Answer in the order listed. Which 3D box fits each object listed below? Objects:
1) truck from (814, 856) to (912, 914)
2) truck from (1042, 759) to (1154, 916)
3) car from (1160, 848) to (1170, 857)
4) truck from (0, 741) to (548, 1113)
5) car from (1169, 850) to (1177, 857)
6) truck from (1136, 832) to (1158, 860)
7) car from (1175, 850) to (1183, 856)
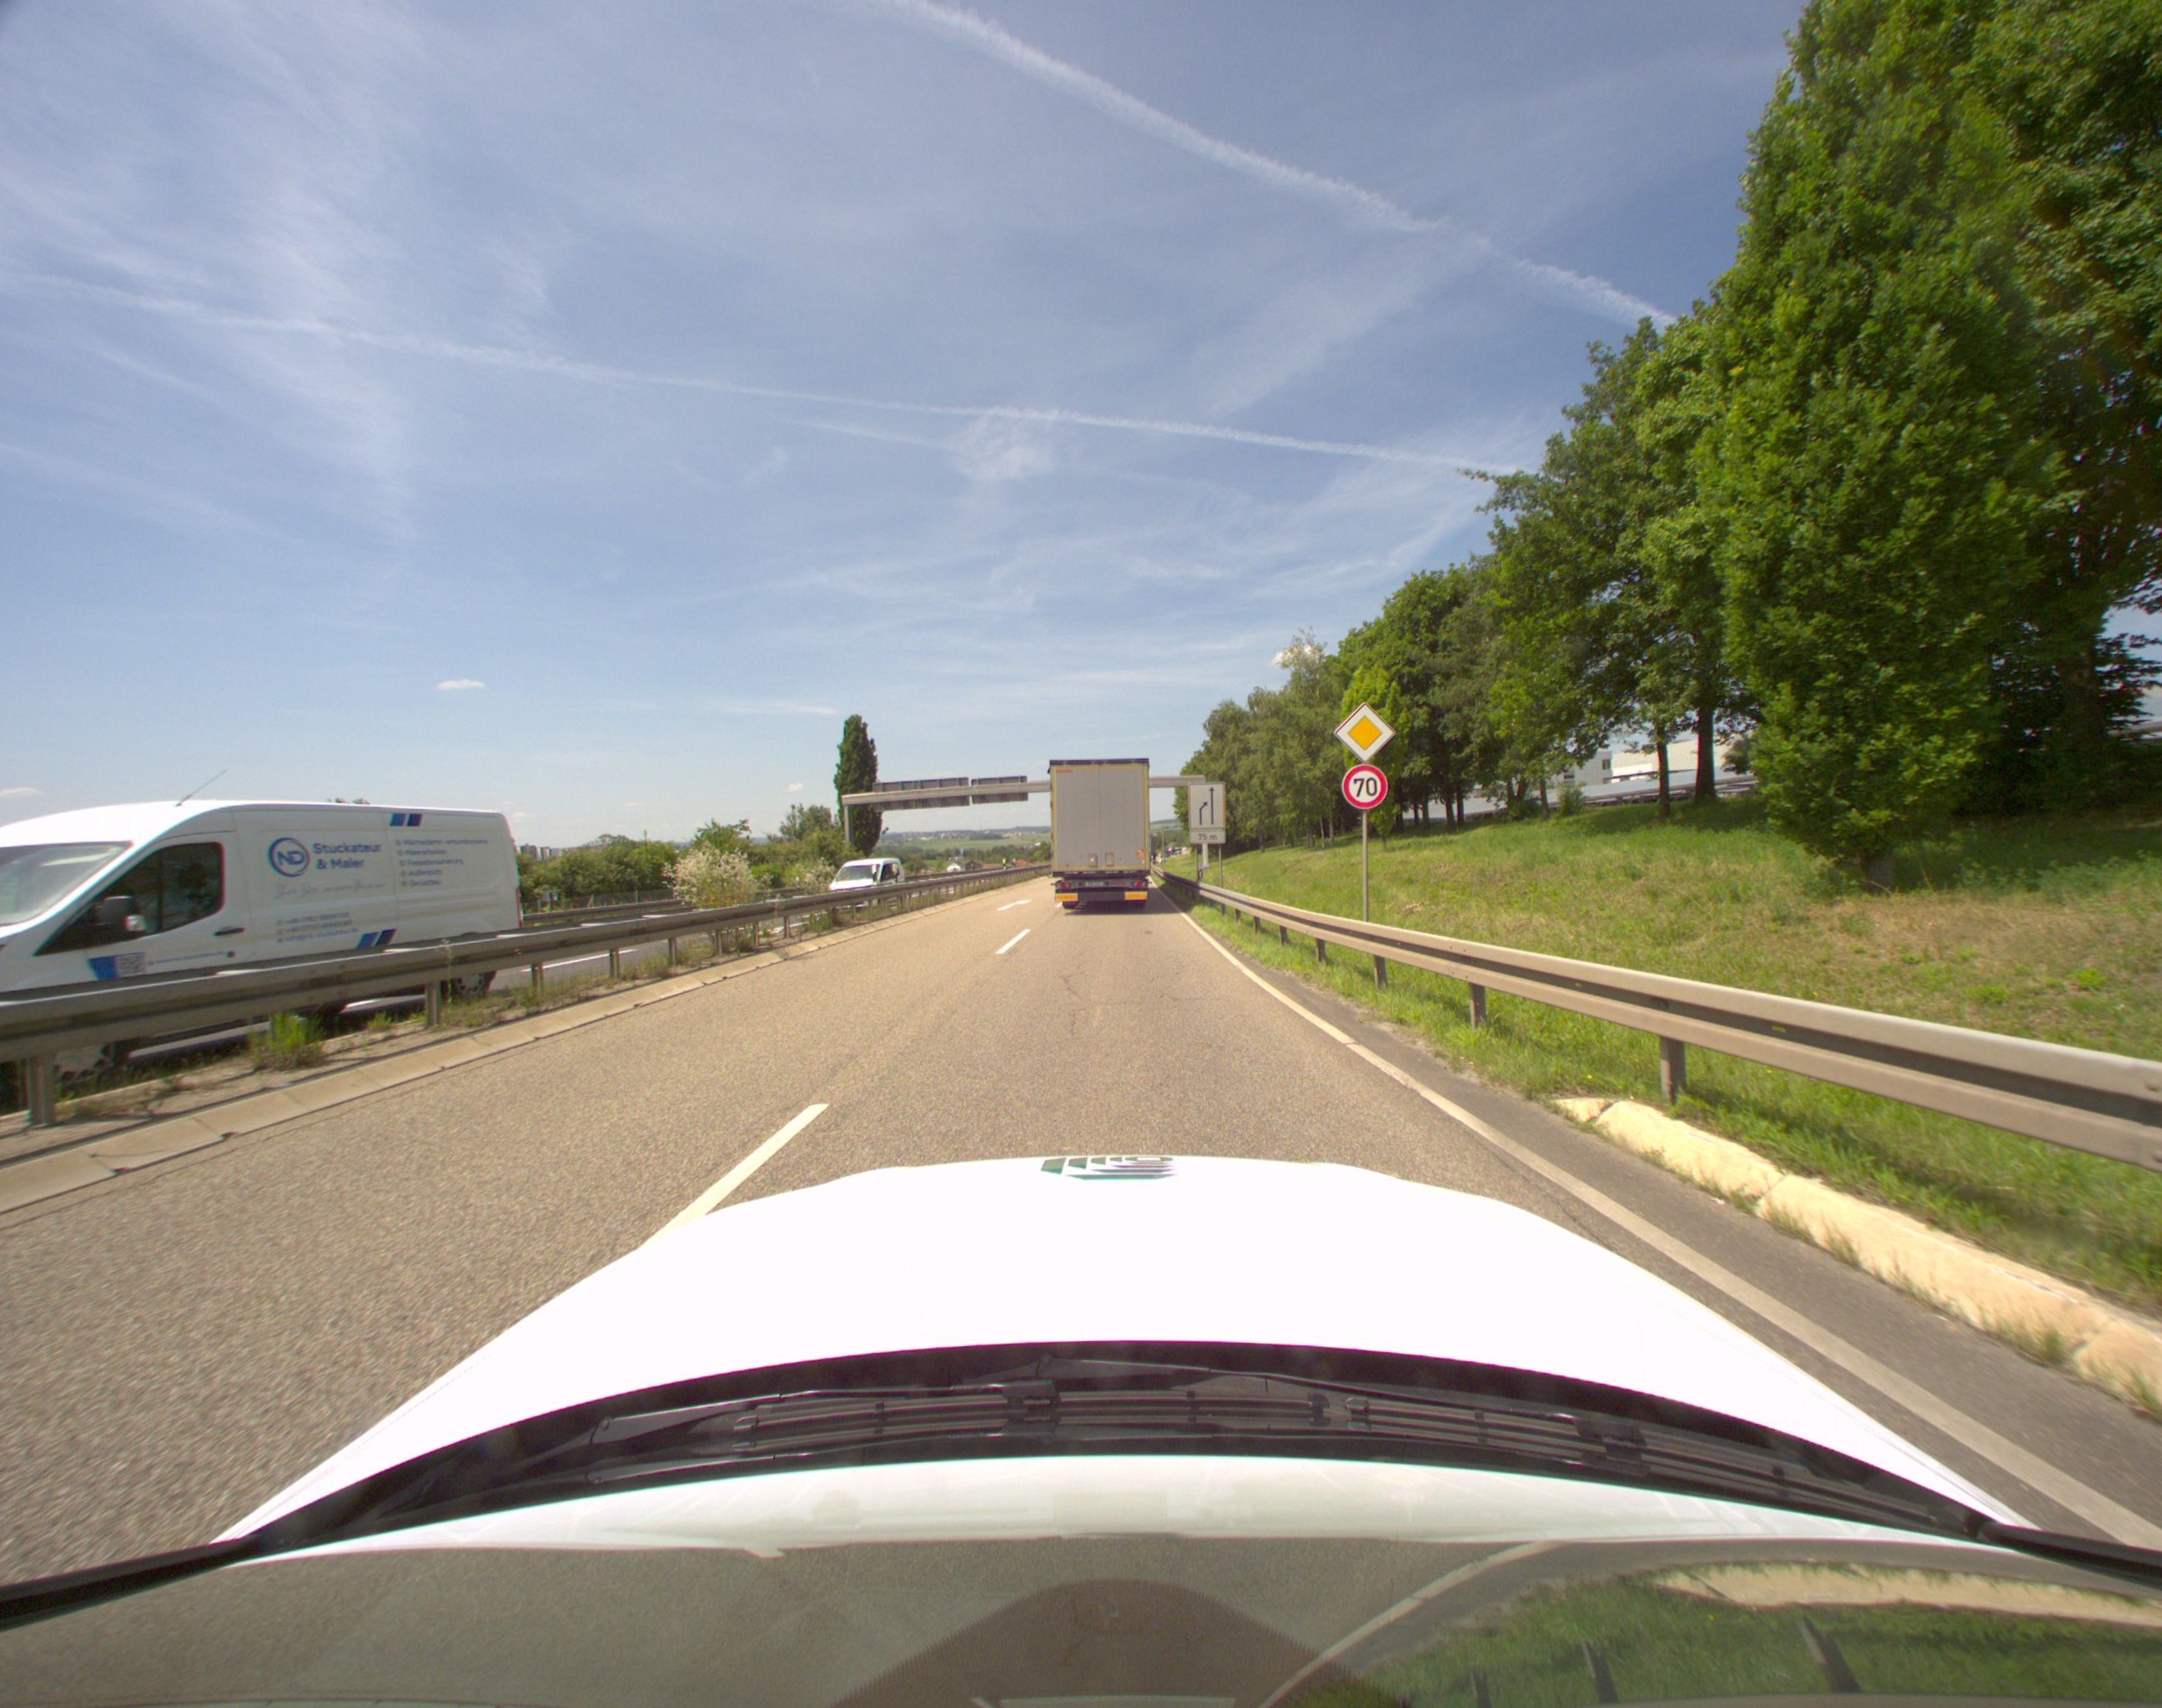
[{"bbox_3d":[-7.491,1.031,28.510,1.841,1.749,4.541,-5,-1,3],"label":"truck"},{"bbox_3d":[0.725,-0.430,26.347,2.788,3.929,11.350,-1,0,3],"label":"truck"},{"bbox_3d":[17.365,-0.334,168.695,1.779,1.688,4.003,-2,-1,3],"label":"car"},{"bbox_3d":[-8.574,0.580,8.261,2.033,2.620,6.022,-5,0,2],"label":"truck"},{"bbox_3d":[23.095,-0.190,204.417,1.779,1.688,4.003,-2,-1,3],"label":"car"},{"bbox_3d":[9.661,-1.071,118.730,2.641,3.765,10.180,-2,-1,7],"label":"truck"},{"bbox_3d":[26.905,-0.311,224.009,1.779,1.688,4.003,-2,-1,3],"label":"car"}]
